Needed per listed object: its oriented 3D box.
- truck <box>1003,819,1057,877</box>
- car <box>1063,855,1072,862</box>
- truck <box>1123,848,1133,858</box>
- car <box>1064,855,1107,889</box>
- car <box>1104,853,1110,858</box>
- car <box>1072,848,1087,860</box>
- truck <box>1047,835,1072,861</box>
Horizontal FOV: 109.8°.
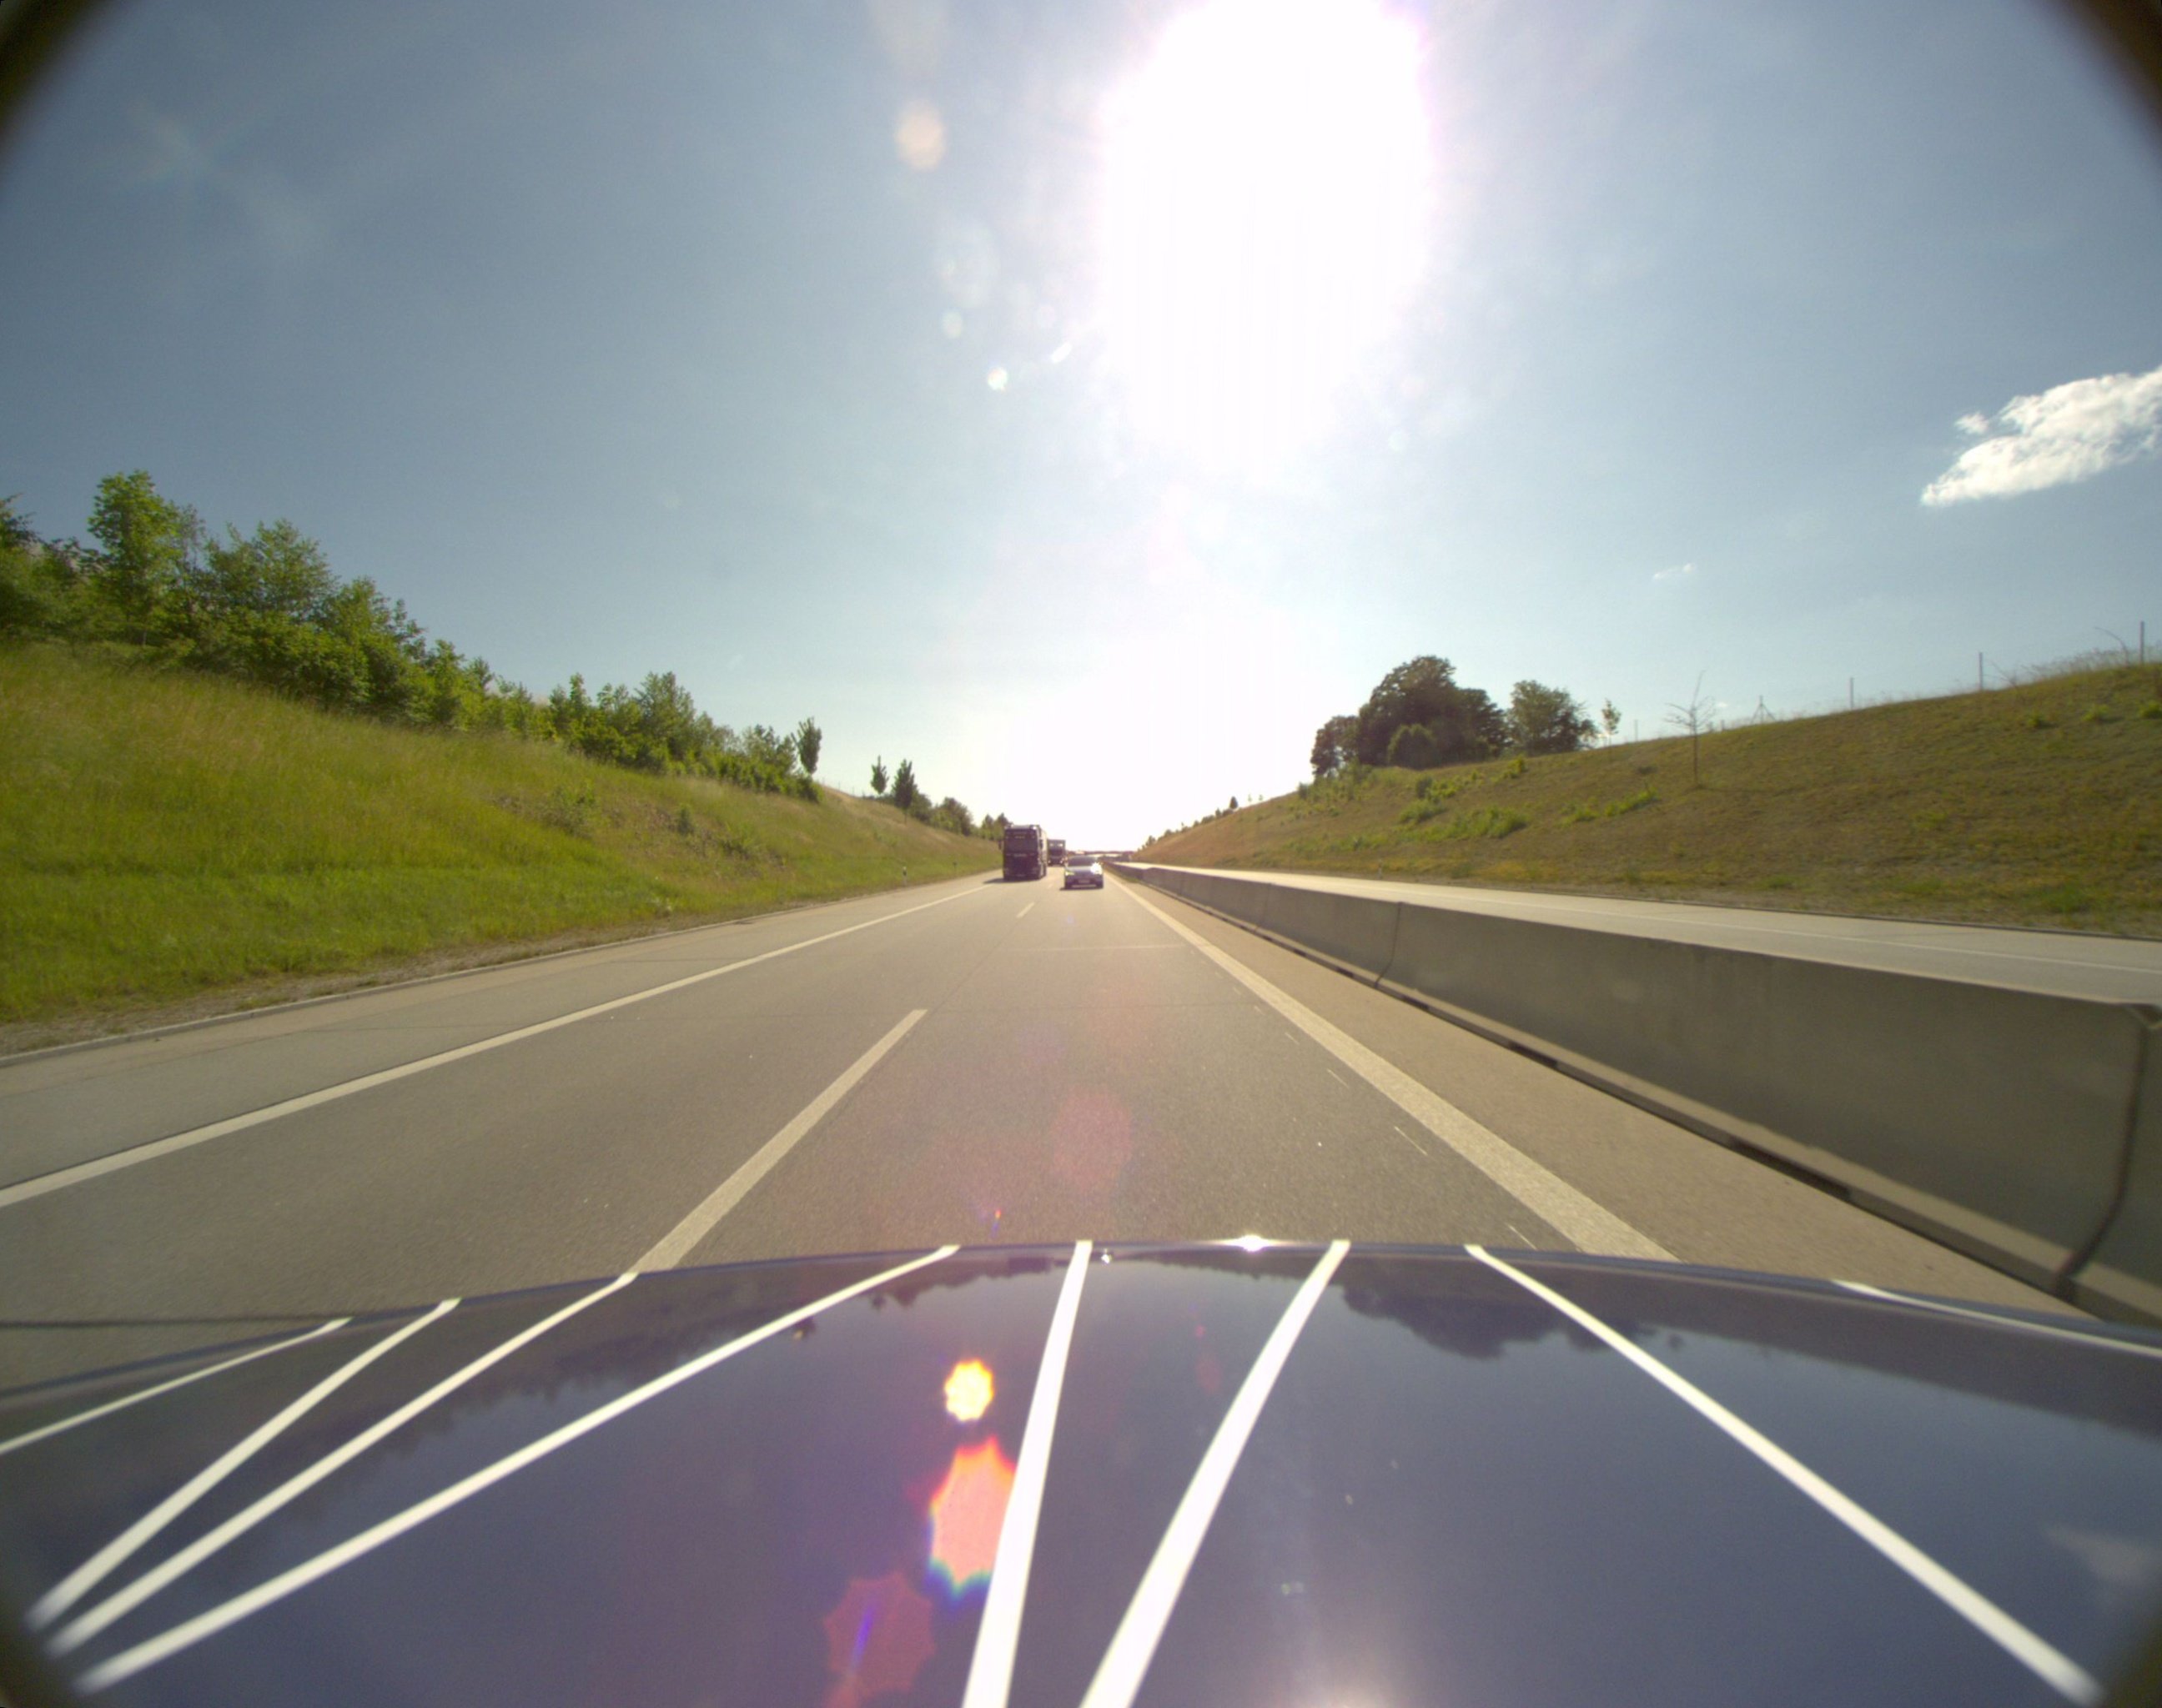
[{"bbox_3d":[-3.577,-0.391,56.997,2.623,3.795,13.404,-2,0,2],"label":"truck"},{"bbox_3d":[-2.806,0.978,159.062,1.708,1.433,3.633,1,0,-4],"label":"car"},{"bbox_3d":[11.560,-0.166,188.444,1.998,2.434,5.667,-1,0,0],"label":"truck"},{"bbox_3d":[0.260,0.830,36.923,1.794,1.501,3.636,-1,0,5],"label":"car"},{"bbox_3d":[8.677,0.494,256.636,1.778,1.440,4.182,0,0,-2],"label":"car"},{"bbox_3d":[-0.313,-0.074,143.256,2.816,2.143,5.947,1,0,0],"label":"car"},{"bbox_3d":[-3.166,-0.854,115.960,3.024,3.795,13.404,1,0,2],"label":"truck"}]
